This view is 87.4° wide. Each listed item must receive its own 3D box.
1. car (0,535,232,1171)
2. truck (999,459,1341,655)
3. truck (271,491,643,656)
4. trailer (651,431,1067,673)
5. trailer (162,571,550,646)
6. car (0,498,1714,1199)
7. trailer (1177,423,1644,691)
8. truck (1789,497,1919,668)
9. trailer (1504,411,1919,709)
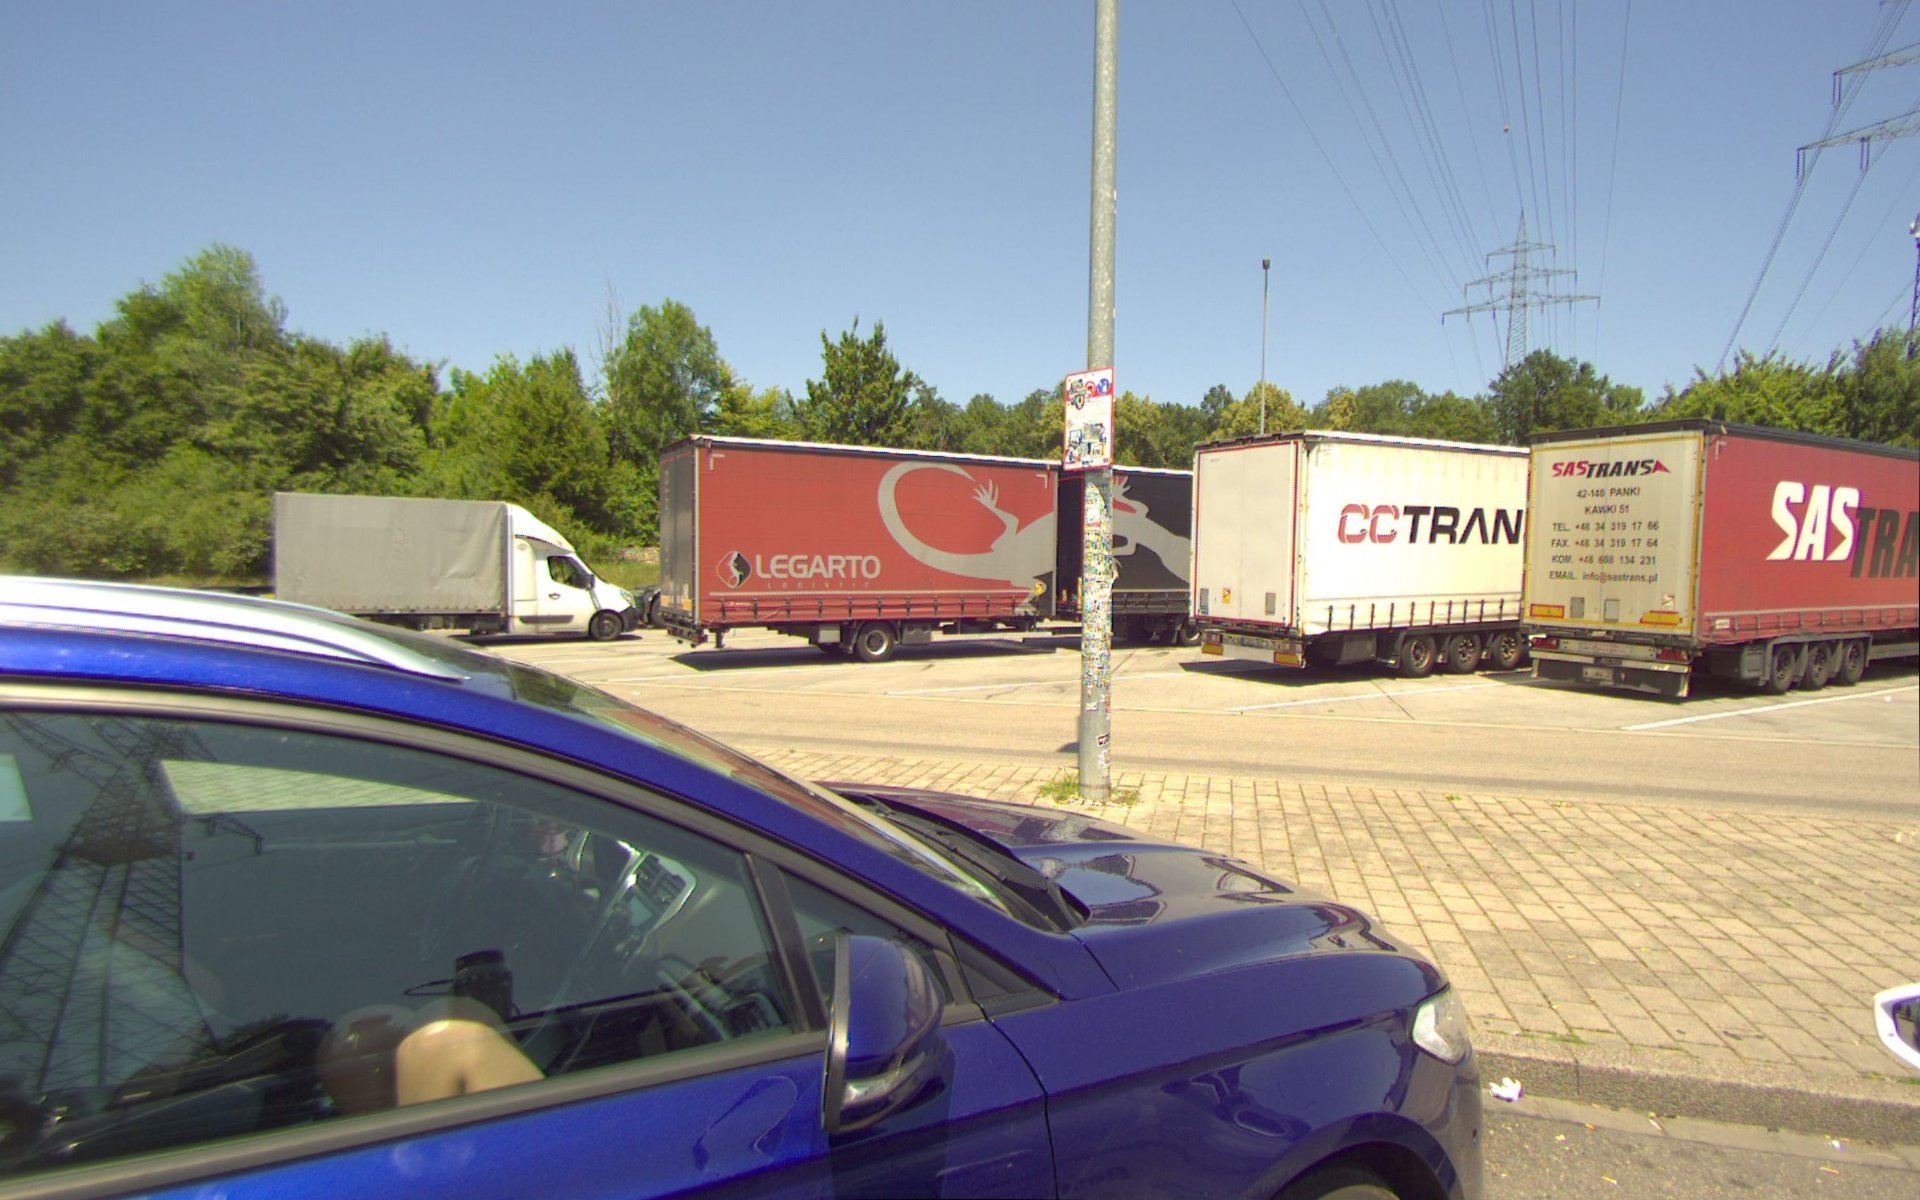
[{"bbox_3d":[-4.400,0.583,2.090,4.522,1.526,1.743,0,2,-32],"label":"car"},{"bbox_3d":[5.284,-0.997,24.540,8.586,4.127,2.693,-1,3,-30],"label":"truck"},{"bbox_3d":[-11.226,-0.617,22.995,7.187,3.289,2.694,-1,3,-29],"label":"truck"},{"bbox_3d":[-1.868,-0.900,20.332,8.007,4.127,2.693,-1,3,-30],"label":"trailer"},{"bbox_3d":[-14.737,0.111,25.234,8.007,1.648,2.199,-1,3,-30],"label":"trailer"},{"bbox_3d":[-0.959,0.654,1.453,4.522,1.491,1.743,0,2,-32],"label":"car"},{"bbox_3d":[8.986,-0.769,19.346,10.264,4.158,2.693,-1,3,-30],"label":"trailer"},{"bbox_3d":[21.271,-0.405,22.049,5.903,3.409,2.798,-1,3,-30],"label":"truck"},{"bbox_3d":[15.479,-0.677,18.612,13.599,4.127,2.807,-1,3,-31],"label":"trailer"}]
